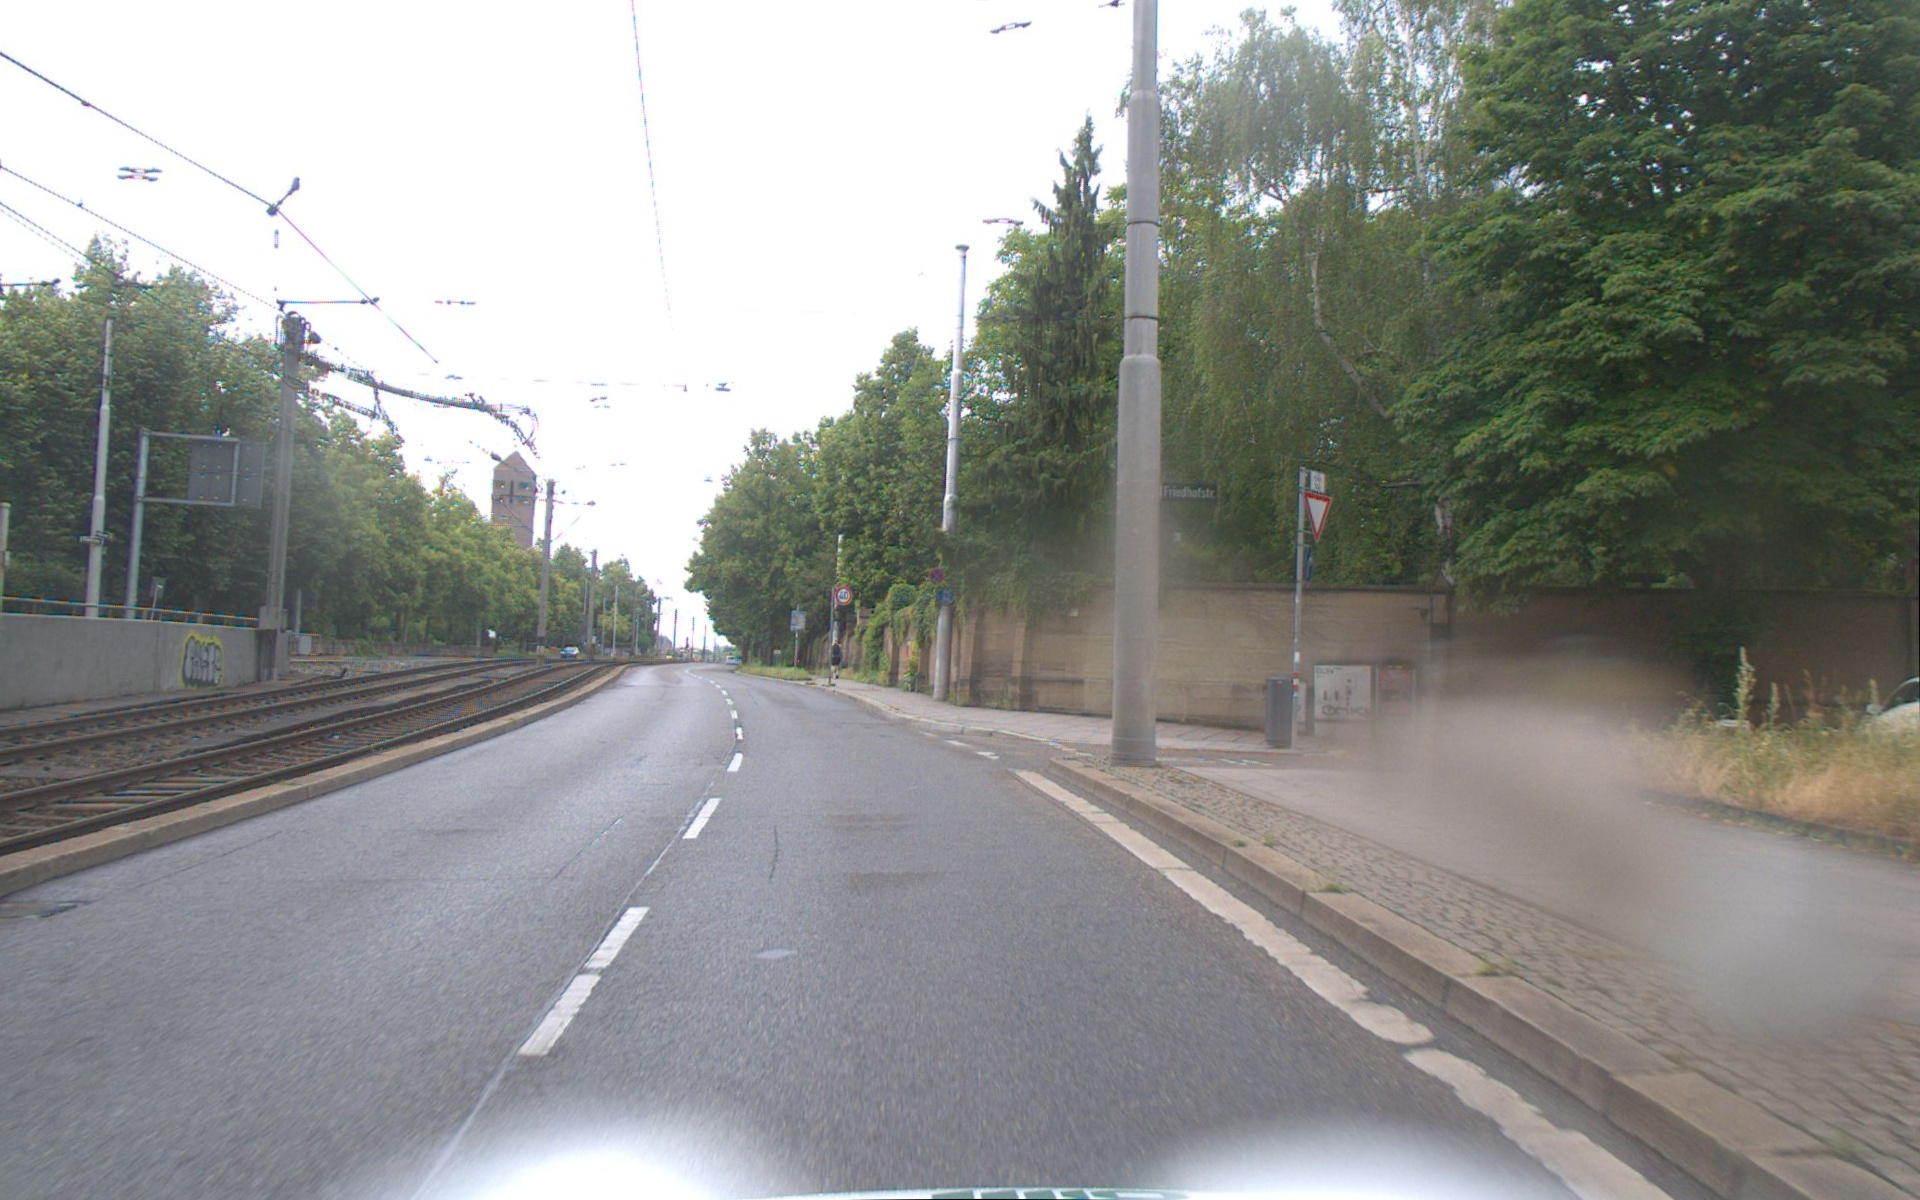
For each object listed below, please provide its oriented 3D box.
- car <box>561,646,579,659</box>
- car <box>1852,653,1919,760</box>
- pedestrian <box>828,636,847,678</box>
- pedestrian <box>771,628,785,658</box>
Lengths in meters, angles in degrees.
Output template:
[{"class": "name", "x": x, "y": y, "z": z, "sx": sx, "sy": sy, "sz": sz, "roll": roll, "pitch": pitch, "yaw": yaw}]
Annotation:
[{"class": "car", "x": -48.612, "y": 6.506, "z": 206.078, "sx": 1.761, "sy": 1.537, "sz": 3.841, "roll": 2, "pitch": -2, "yaw": -8}, {"class": "car", "x": 14.294, "y": 1.564, "z": 23.870, "sx": 1.716, "sy": 1.431, "sz": 4.001, "roll": 0, "pitch": -4, "yaw": 17}, {"class": "pedestrian", "x": -5.614, "y": 2.620, "z": 75.947, "sx": 0.706, "sy": 1.882, "sz": 0.781, "roll": 4, "pitch": -3, "yaw": -8}, {"class": "pedestrian", "x": -10.607, "y": 2.525, "z": 96.561, "sx": 0.706, "sy": 1.717, "sz": 0.727, "roll": 4, "pitch": -3, "yaw": -8}]
